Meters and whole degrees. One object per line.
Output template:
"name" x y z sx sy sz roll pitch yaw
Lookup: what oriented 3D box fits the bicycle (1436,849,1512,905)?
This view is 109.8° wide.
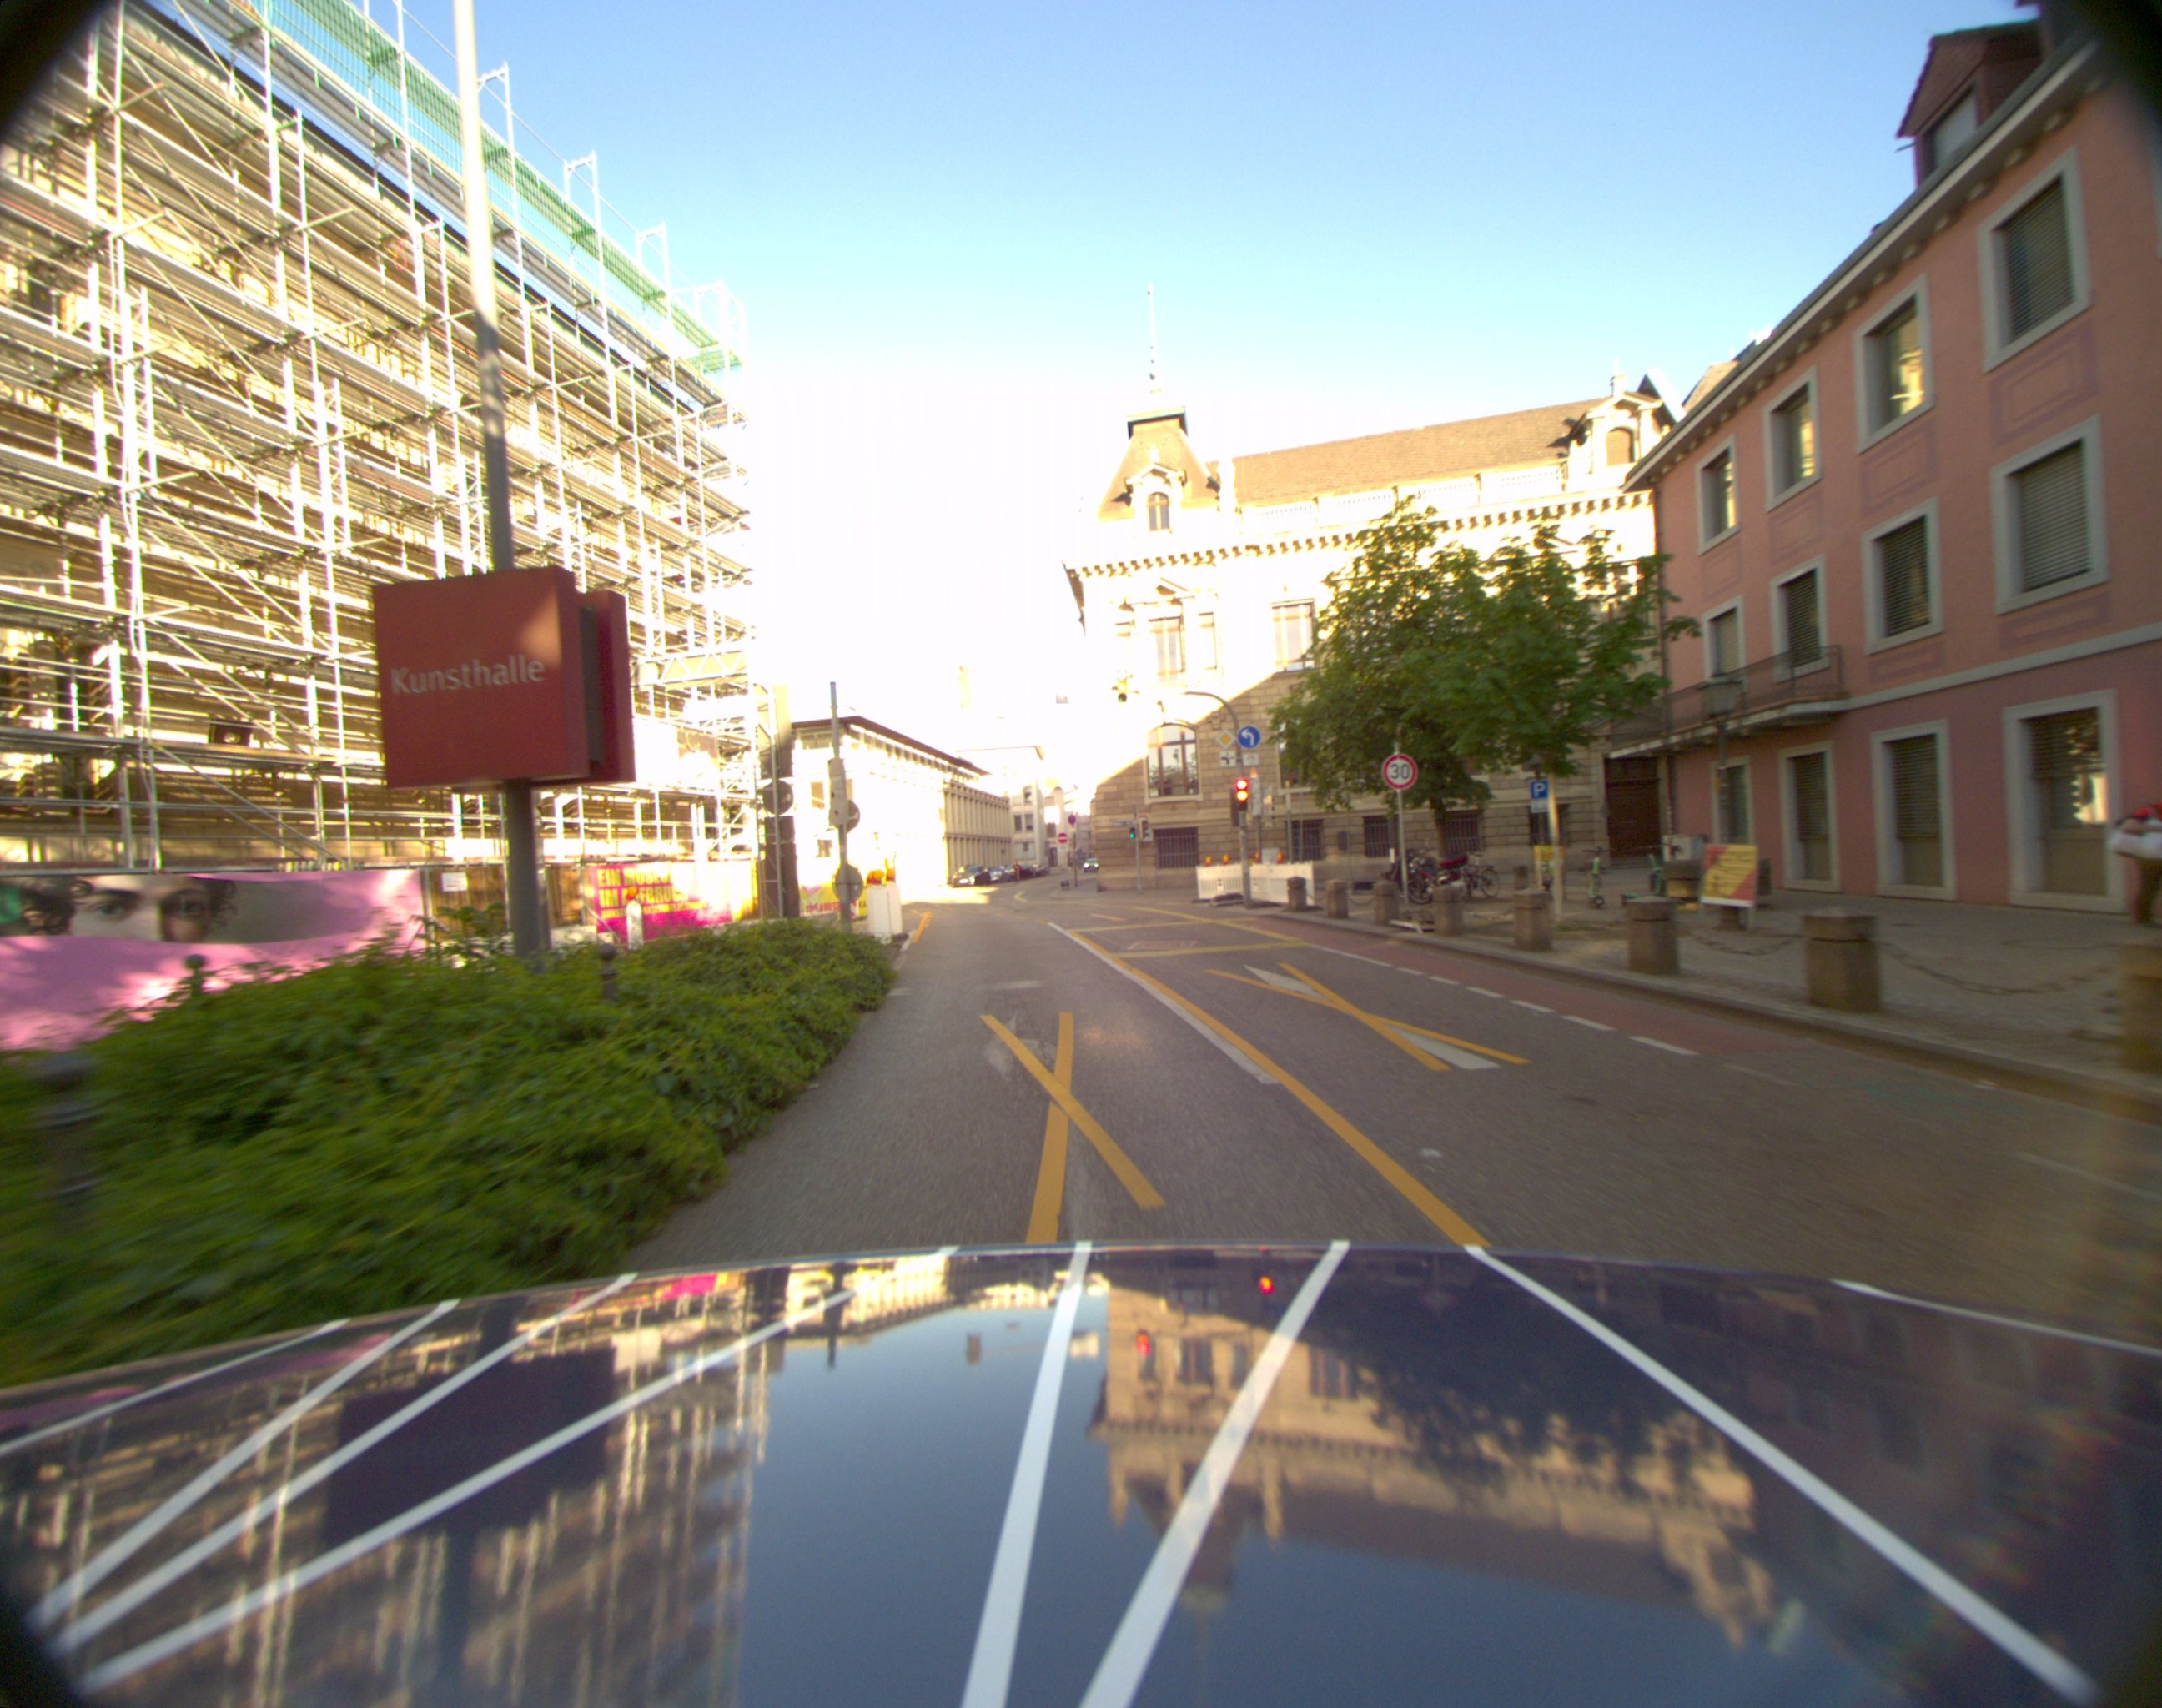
"bicycle" 9.186 0.518 17.752 2.009 1.199 0.682 -2 1 -34

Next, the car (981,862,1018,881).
"car" -6.628 1.399 62.031 1.700 1.336 4.601 -4 0 10

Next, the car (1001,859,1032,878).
"car" -5.709 1.294 67.961 1.700 1.462 4.794 -4 0 7

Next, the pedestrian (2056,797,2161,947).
"pedestrian" 12.571 0.188 9.016 0.792 1.679 0.869 -4 1 11

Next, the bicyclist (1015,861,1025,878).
"bicyclist" -4.561 1.165 56.964 0.538 1.281 0.551 -4 1 5

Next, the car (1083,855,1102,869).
"car" 1.425 0.977 90.542 1.853 1.483 4.256 -4 0 6

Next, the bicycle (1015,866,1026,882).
"bicycle" -4.544 1.498 56.931 0.535 1.060 1.426 -4 0 5

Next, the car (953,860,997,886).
"car" -7.643 1.355 55.339 1.898 1.614 4.623 -4 0 7

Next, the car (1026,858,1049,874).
"car" -4.484 1.257 79.298 1.697 1.483 4.256 -4 0 6

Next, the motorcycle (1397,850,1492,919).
"motorcycle" 7.572 0.606 15.990 0.814 1.309 2.337 -3 0 -1
